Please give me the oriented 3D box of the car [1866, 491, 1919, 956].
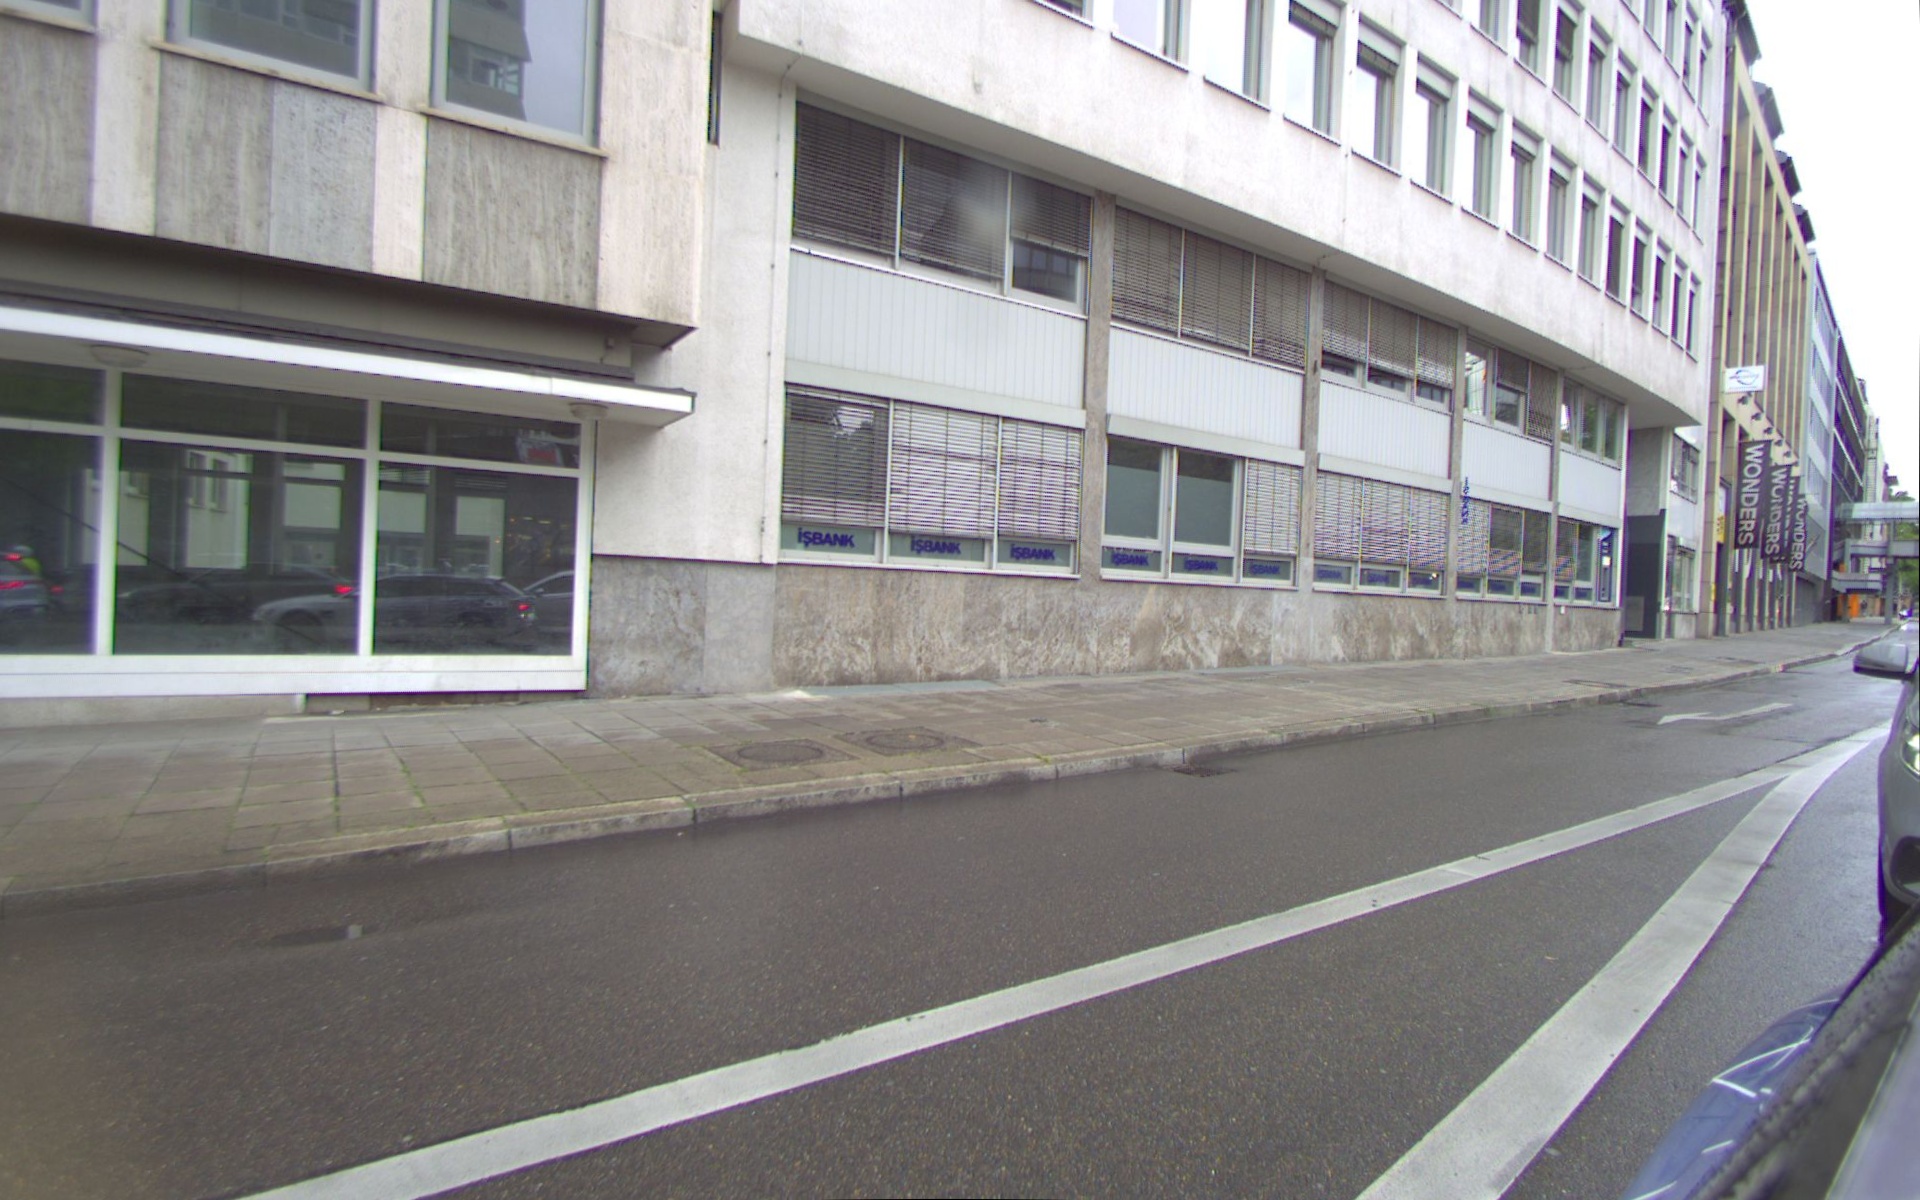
[{"bbox_3d":[6.233,0.513,5.154,4.940,1.879,1.914,0,0,-42],"label":"car"}]
